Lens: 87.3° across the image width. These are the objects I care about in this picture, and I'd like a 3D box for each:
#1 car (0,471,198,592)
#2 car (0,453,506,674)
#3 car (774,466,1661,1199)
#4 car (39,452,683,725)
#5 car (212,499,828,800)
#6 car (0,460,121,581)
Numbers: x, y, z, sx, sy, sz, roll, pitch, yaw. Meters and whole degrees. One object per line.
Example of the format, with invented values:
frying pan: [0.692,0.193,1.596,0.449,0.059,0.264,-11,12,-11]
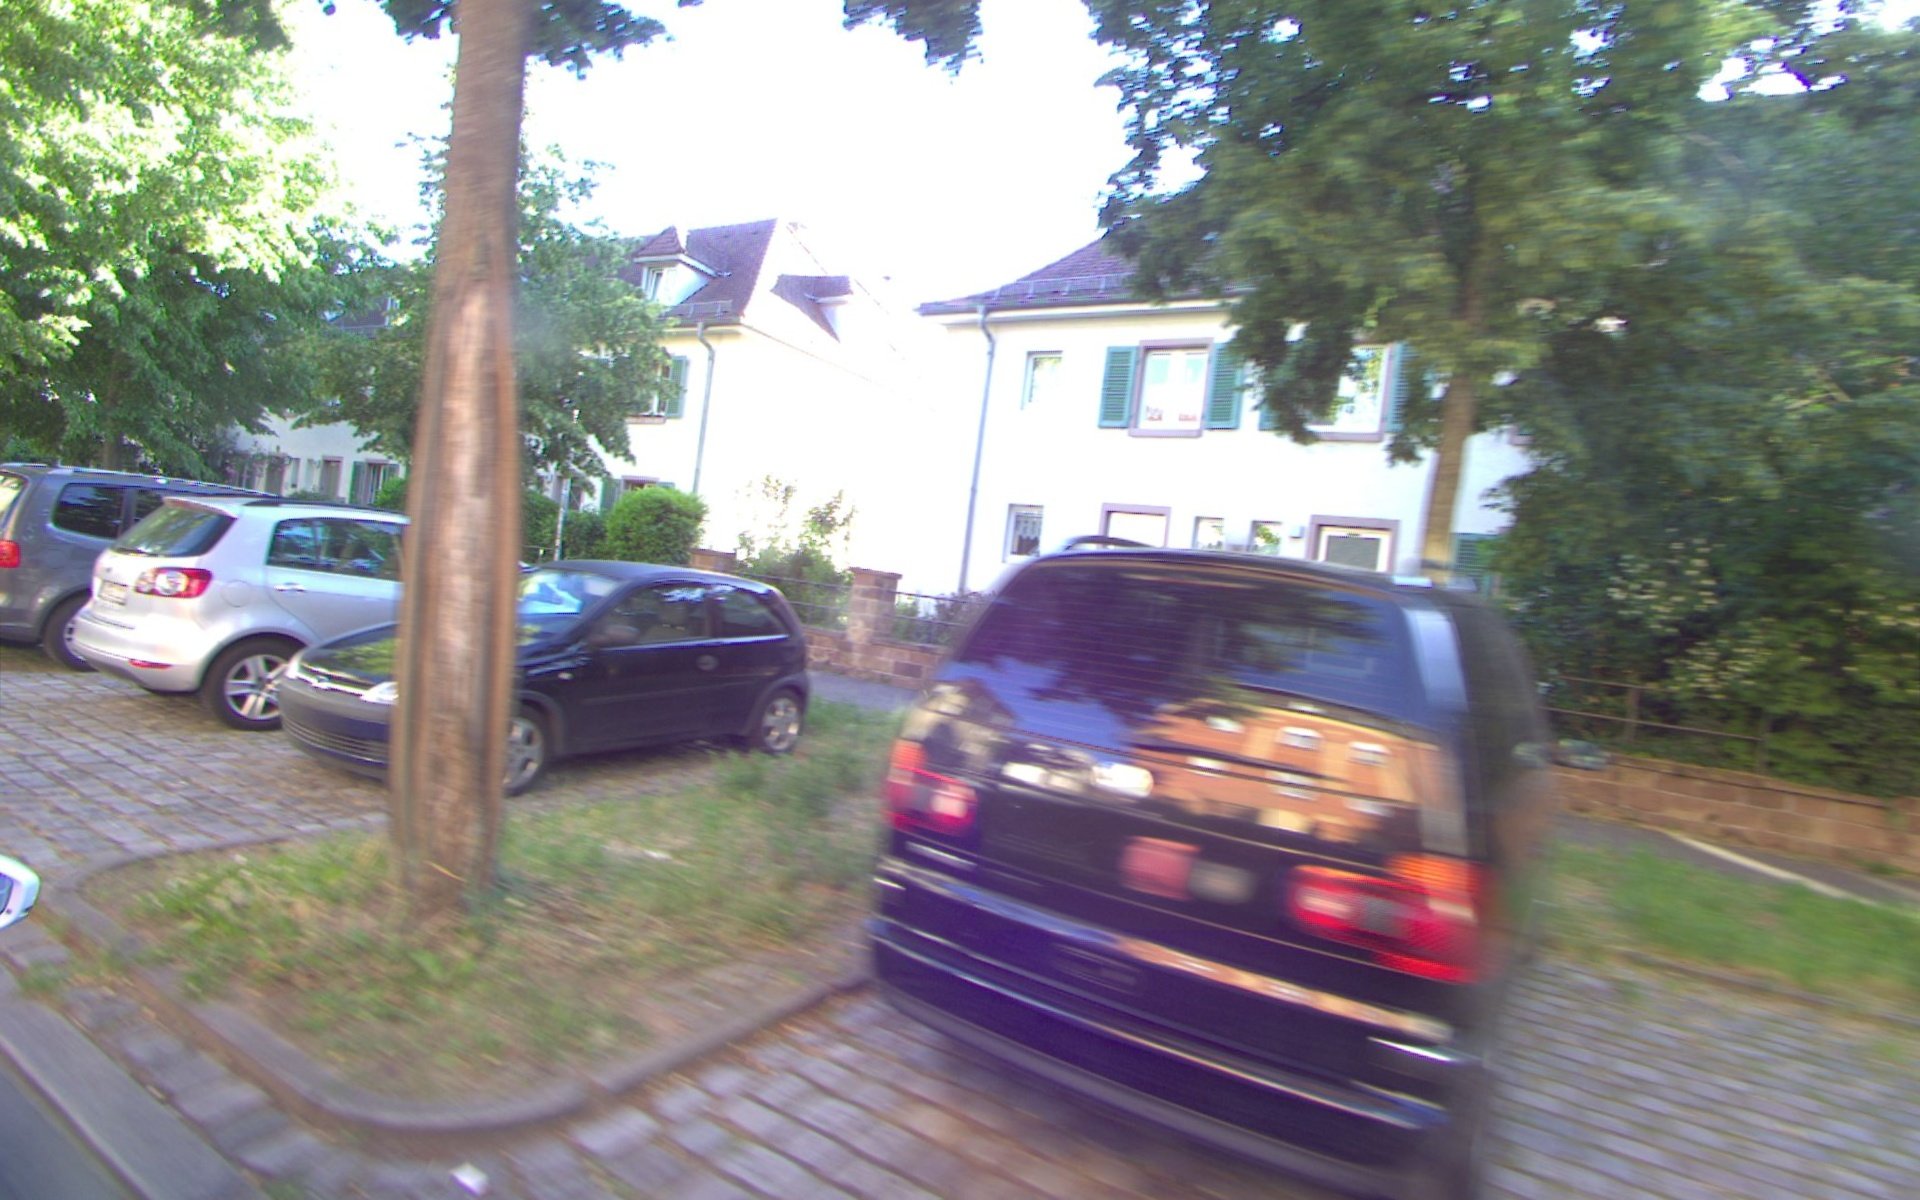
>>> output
car: [-13.355,-1.024,13.951,1.666,1.496,4.067,8,3,32]
car: [-7.029,-0.327,9.837,1.780,1.655,4.544,7,2,26]
car: [1.585,0.646,4.175,1.876,1.700,4.580,7,2,33]
car: [-4.615,-0.065,8.414,1.663,1.655,4.270,7,3,35]
car: [-2.781,0.269,7.151,1.562,1.473,3.722,7,2,31]
car: [-15.724,-1.379,14.952,1.803,1.731,4.621,7,1,33]
